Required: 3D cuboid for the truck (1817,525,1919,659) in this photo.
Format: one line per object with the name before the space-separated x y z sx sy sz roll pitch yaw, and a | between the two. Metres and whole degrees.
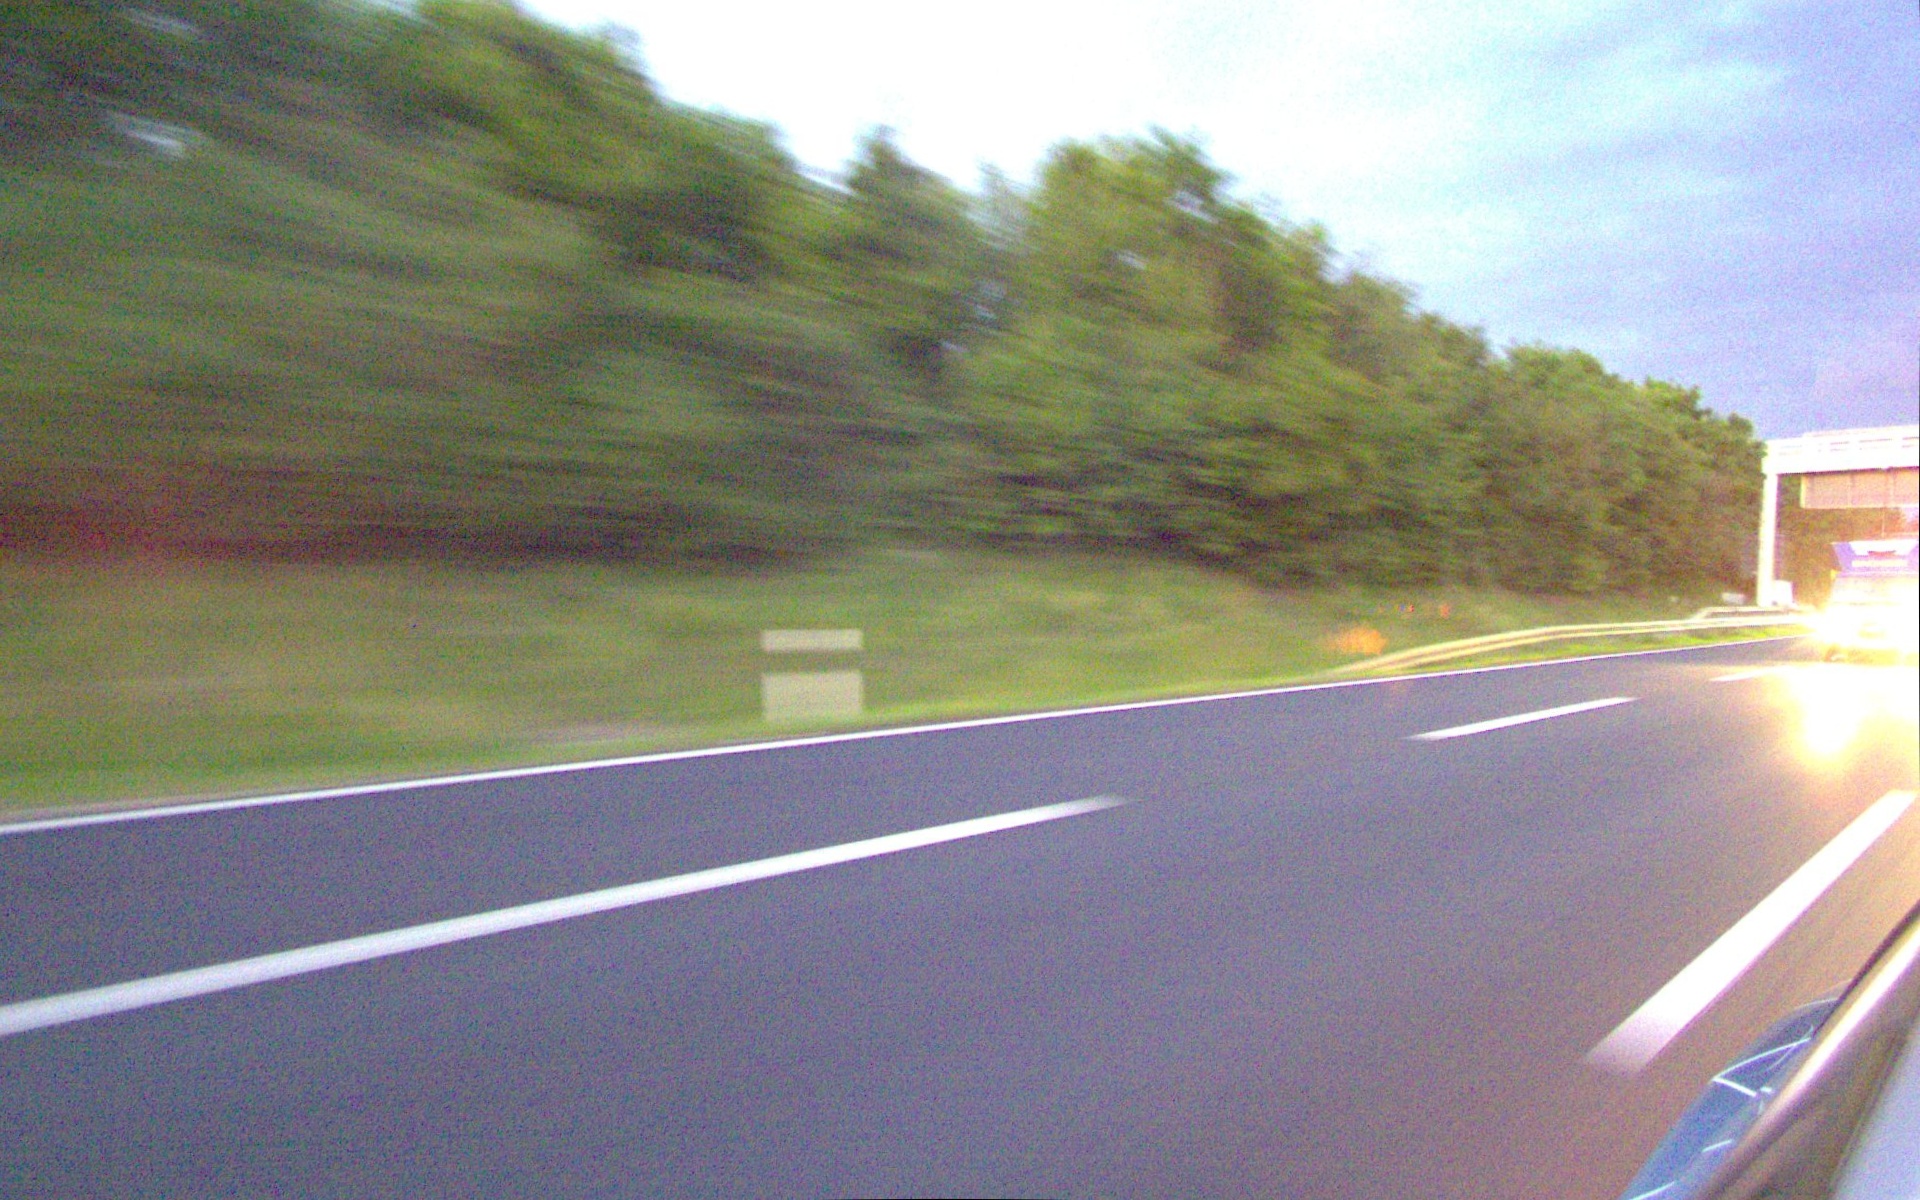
truck | 23.636 -0.187 25.440 6.516 3.009 2.272 0 0 -41
